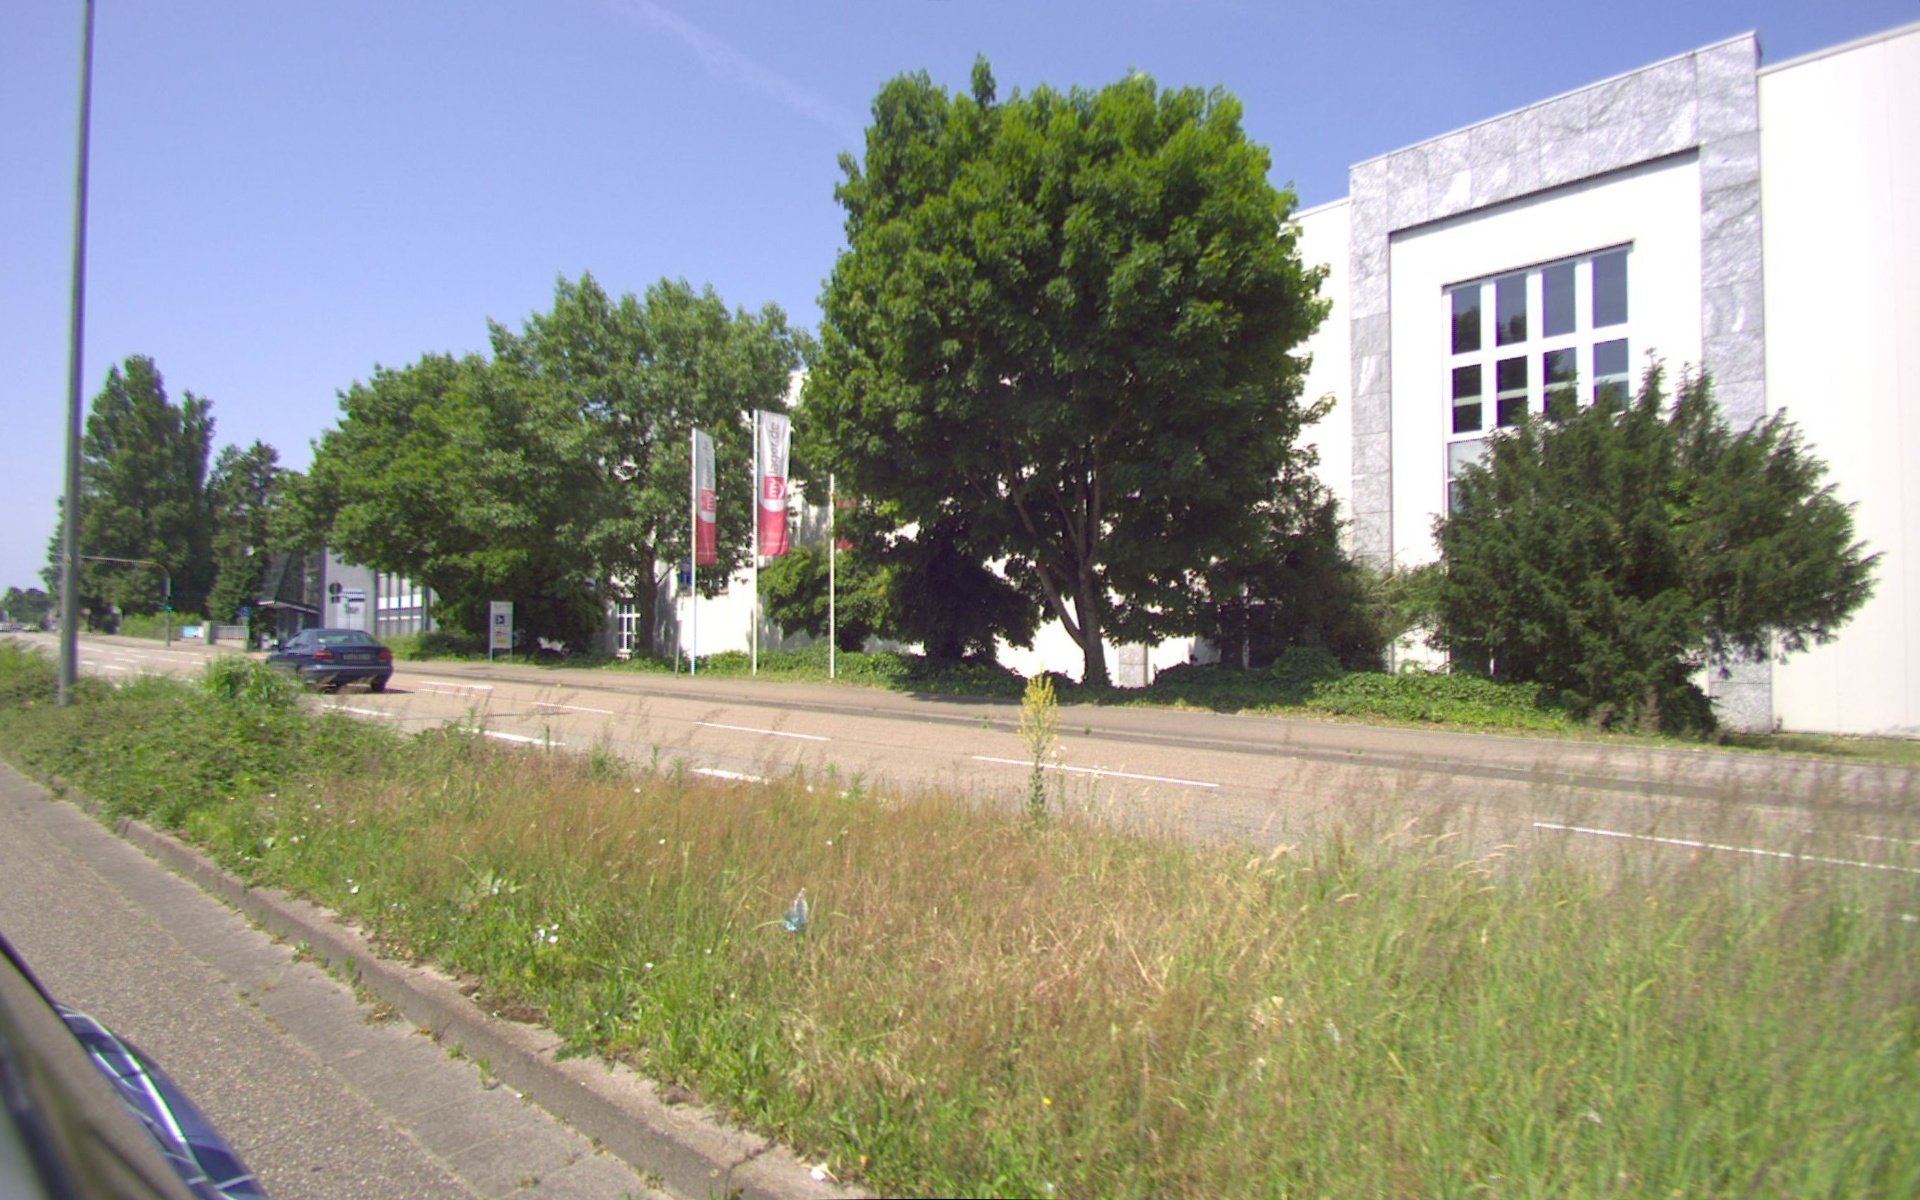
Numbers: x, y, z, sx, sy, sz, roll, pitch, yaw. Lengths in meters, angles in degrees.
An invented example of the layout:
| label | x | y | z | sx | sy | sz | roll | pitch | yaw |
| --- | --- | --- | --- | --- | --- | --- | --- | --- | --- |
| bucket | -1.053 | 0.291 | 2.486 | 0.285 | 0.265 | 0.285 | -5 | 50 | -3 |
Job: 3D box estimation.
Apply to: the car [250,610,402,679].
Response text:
| label | x | y | z | sx | sy | sz | roll | pitch | yaw |
| --- | --- | --- | --- | --- | --- | --- | --- | --- | --- |
| car | -14.486 | 1.010 | 23.027 | 4.244 | 1.427 | 1.704 | -1 | -4 | 41 |

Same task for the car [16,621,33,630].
| label | x | y | z | sx | sy | sz | roll | pitch | yaw |
| --- | --- | --- | --- | --- | --- | --- | --- | --- | --- |
| car | -164.381 | 4.441 | 177.804 | 4.288 | 1.572 | 1.872 | -1 | -3 | 44 |

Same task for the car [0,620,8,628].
| label | x | y | z | sx | sy | sz | roll | pitch | yaw |
| --- | --- | --- | --- | --- | --- | --- | --- | --- | --- |
| car | -170.023 | 4.232 | 179.327 | 4.092 | 1.429 | 1.740 | -2 | -4 | 43 |
